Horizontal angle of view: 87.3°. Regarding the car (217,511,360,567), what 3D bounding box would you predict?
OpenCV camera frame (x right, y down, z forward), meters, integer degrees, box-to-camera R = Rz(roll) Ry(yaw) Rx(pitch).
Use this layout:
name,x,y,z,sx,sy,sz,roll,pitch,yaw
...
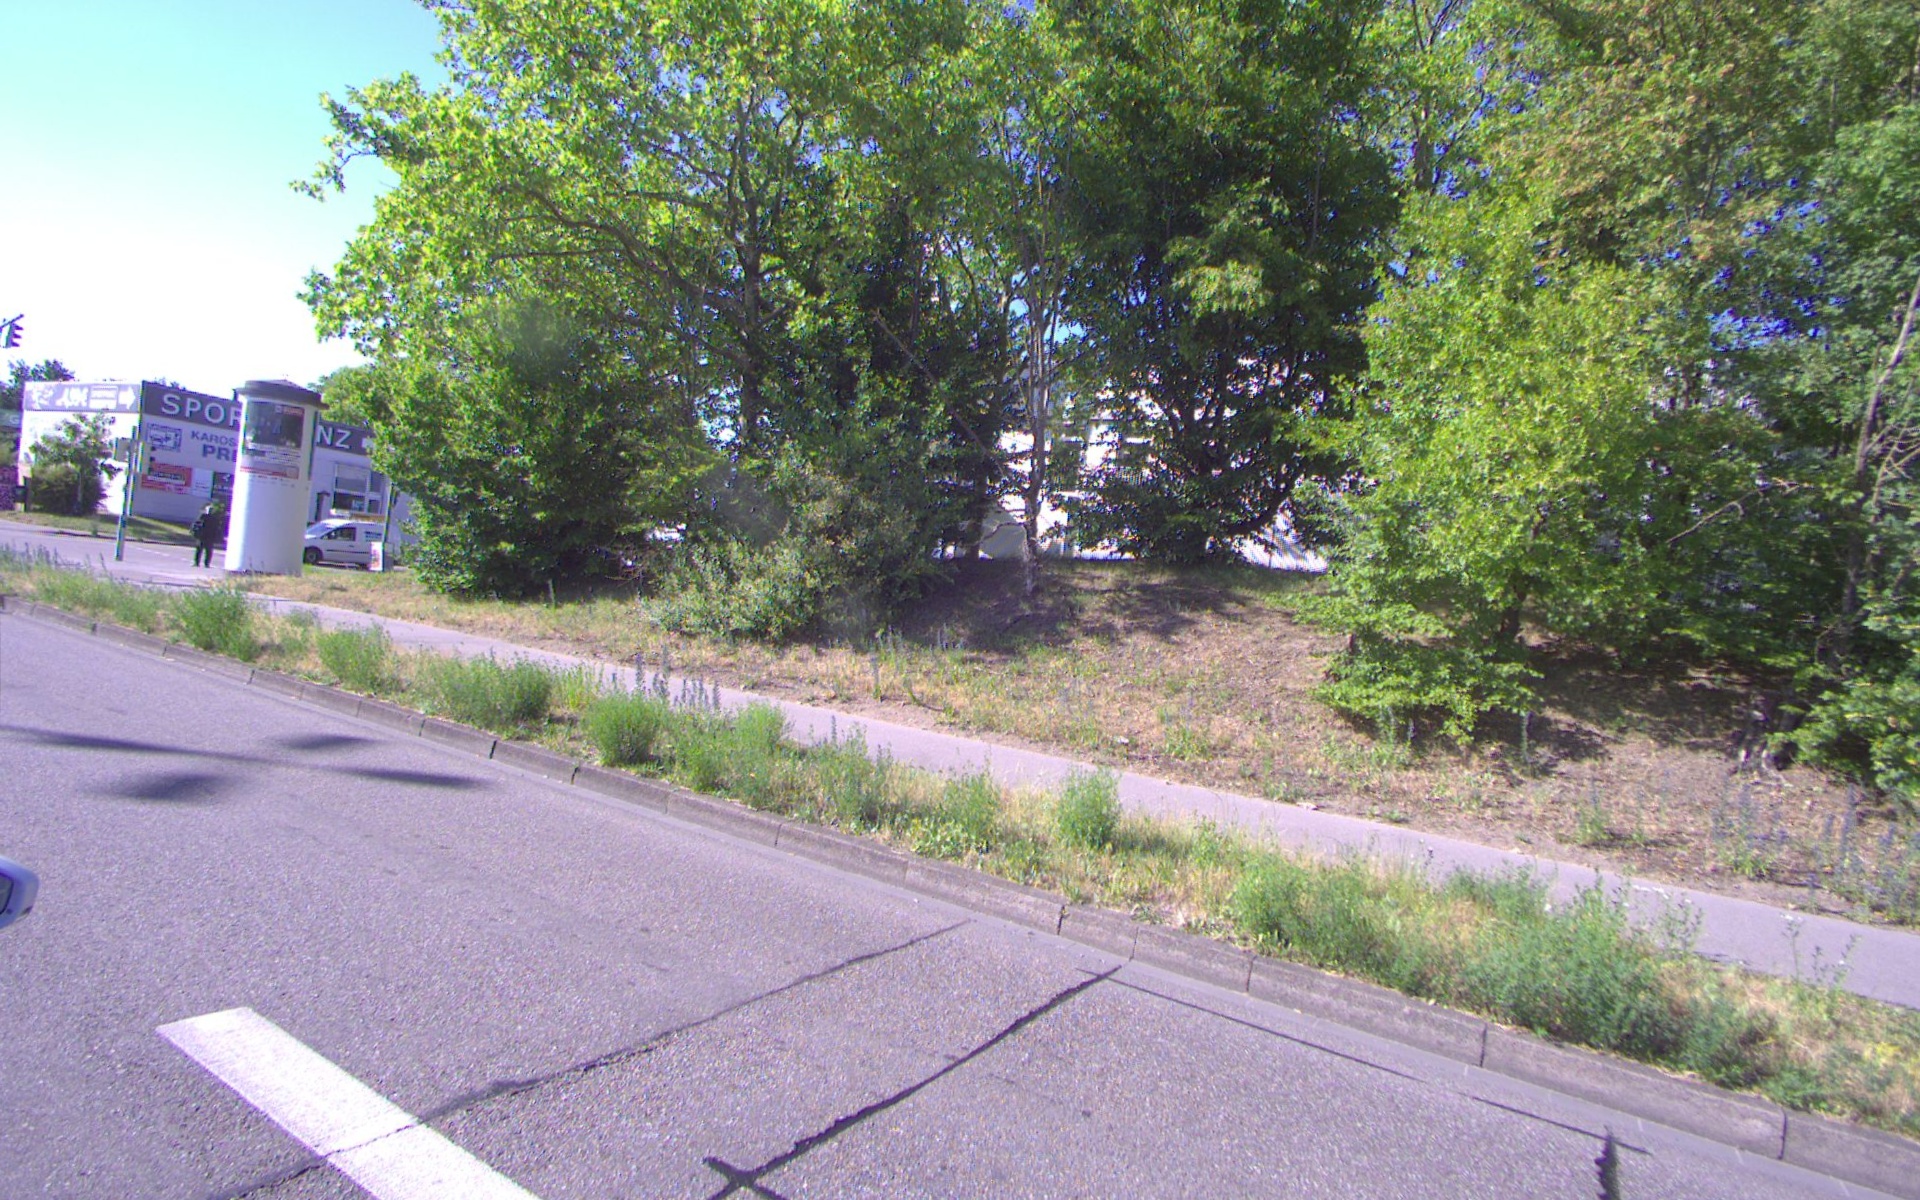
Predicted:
name,x,y,z,sx,sy,sz,roll,pitch,yaw
car,-26.608,-2.381,40.010,1.735,1.568,4.292,9,1,30

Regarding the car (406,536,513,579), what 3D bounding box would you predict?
name,x,y,z,sx,sy,sz,roll,pitch,yaw
car,-23.010,-1.947,46.394,1.752,1.509,4.046,7,1,30

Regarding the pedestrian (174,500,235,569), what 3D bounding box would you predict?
name,x,y,z,sx,sy,sz,roll,pitch,yaw
pedestrian,-21.054,-1.816,28.037,0.923,1.755,0.927,6,-1,31

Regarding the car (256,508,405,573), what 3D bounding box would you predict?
name,x,y,z,sx,sy,sz,roll,pitch,yaw
car,-23.839,-2.202,38.250,1.735,1.824,4.387,9,1,30

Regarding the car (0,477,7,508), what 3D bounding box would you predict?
name,x,y,z,sx,sy,sz,roll,pitch,yaw
car,-49.228,-5.494,48.459,1.828,1.472,4.490,7,1,33

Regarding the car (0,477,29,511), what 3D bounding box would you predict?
name,x,y,z,sx,sy,sz,roll,pitch,yaw
car,-46.876,-5.227,47.089,1.828,1.472,4.490,7,1,33
